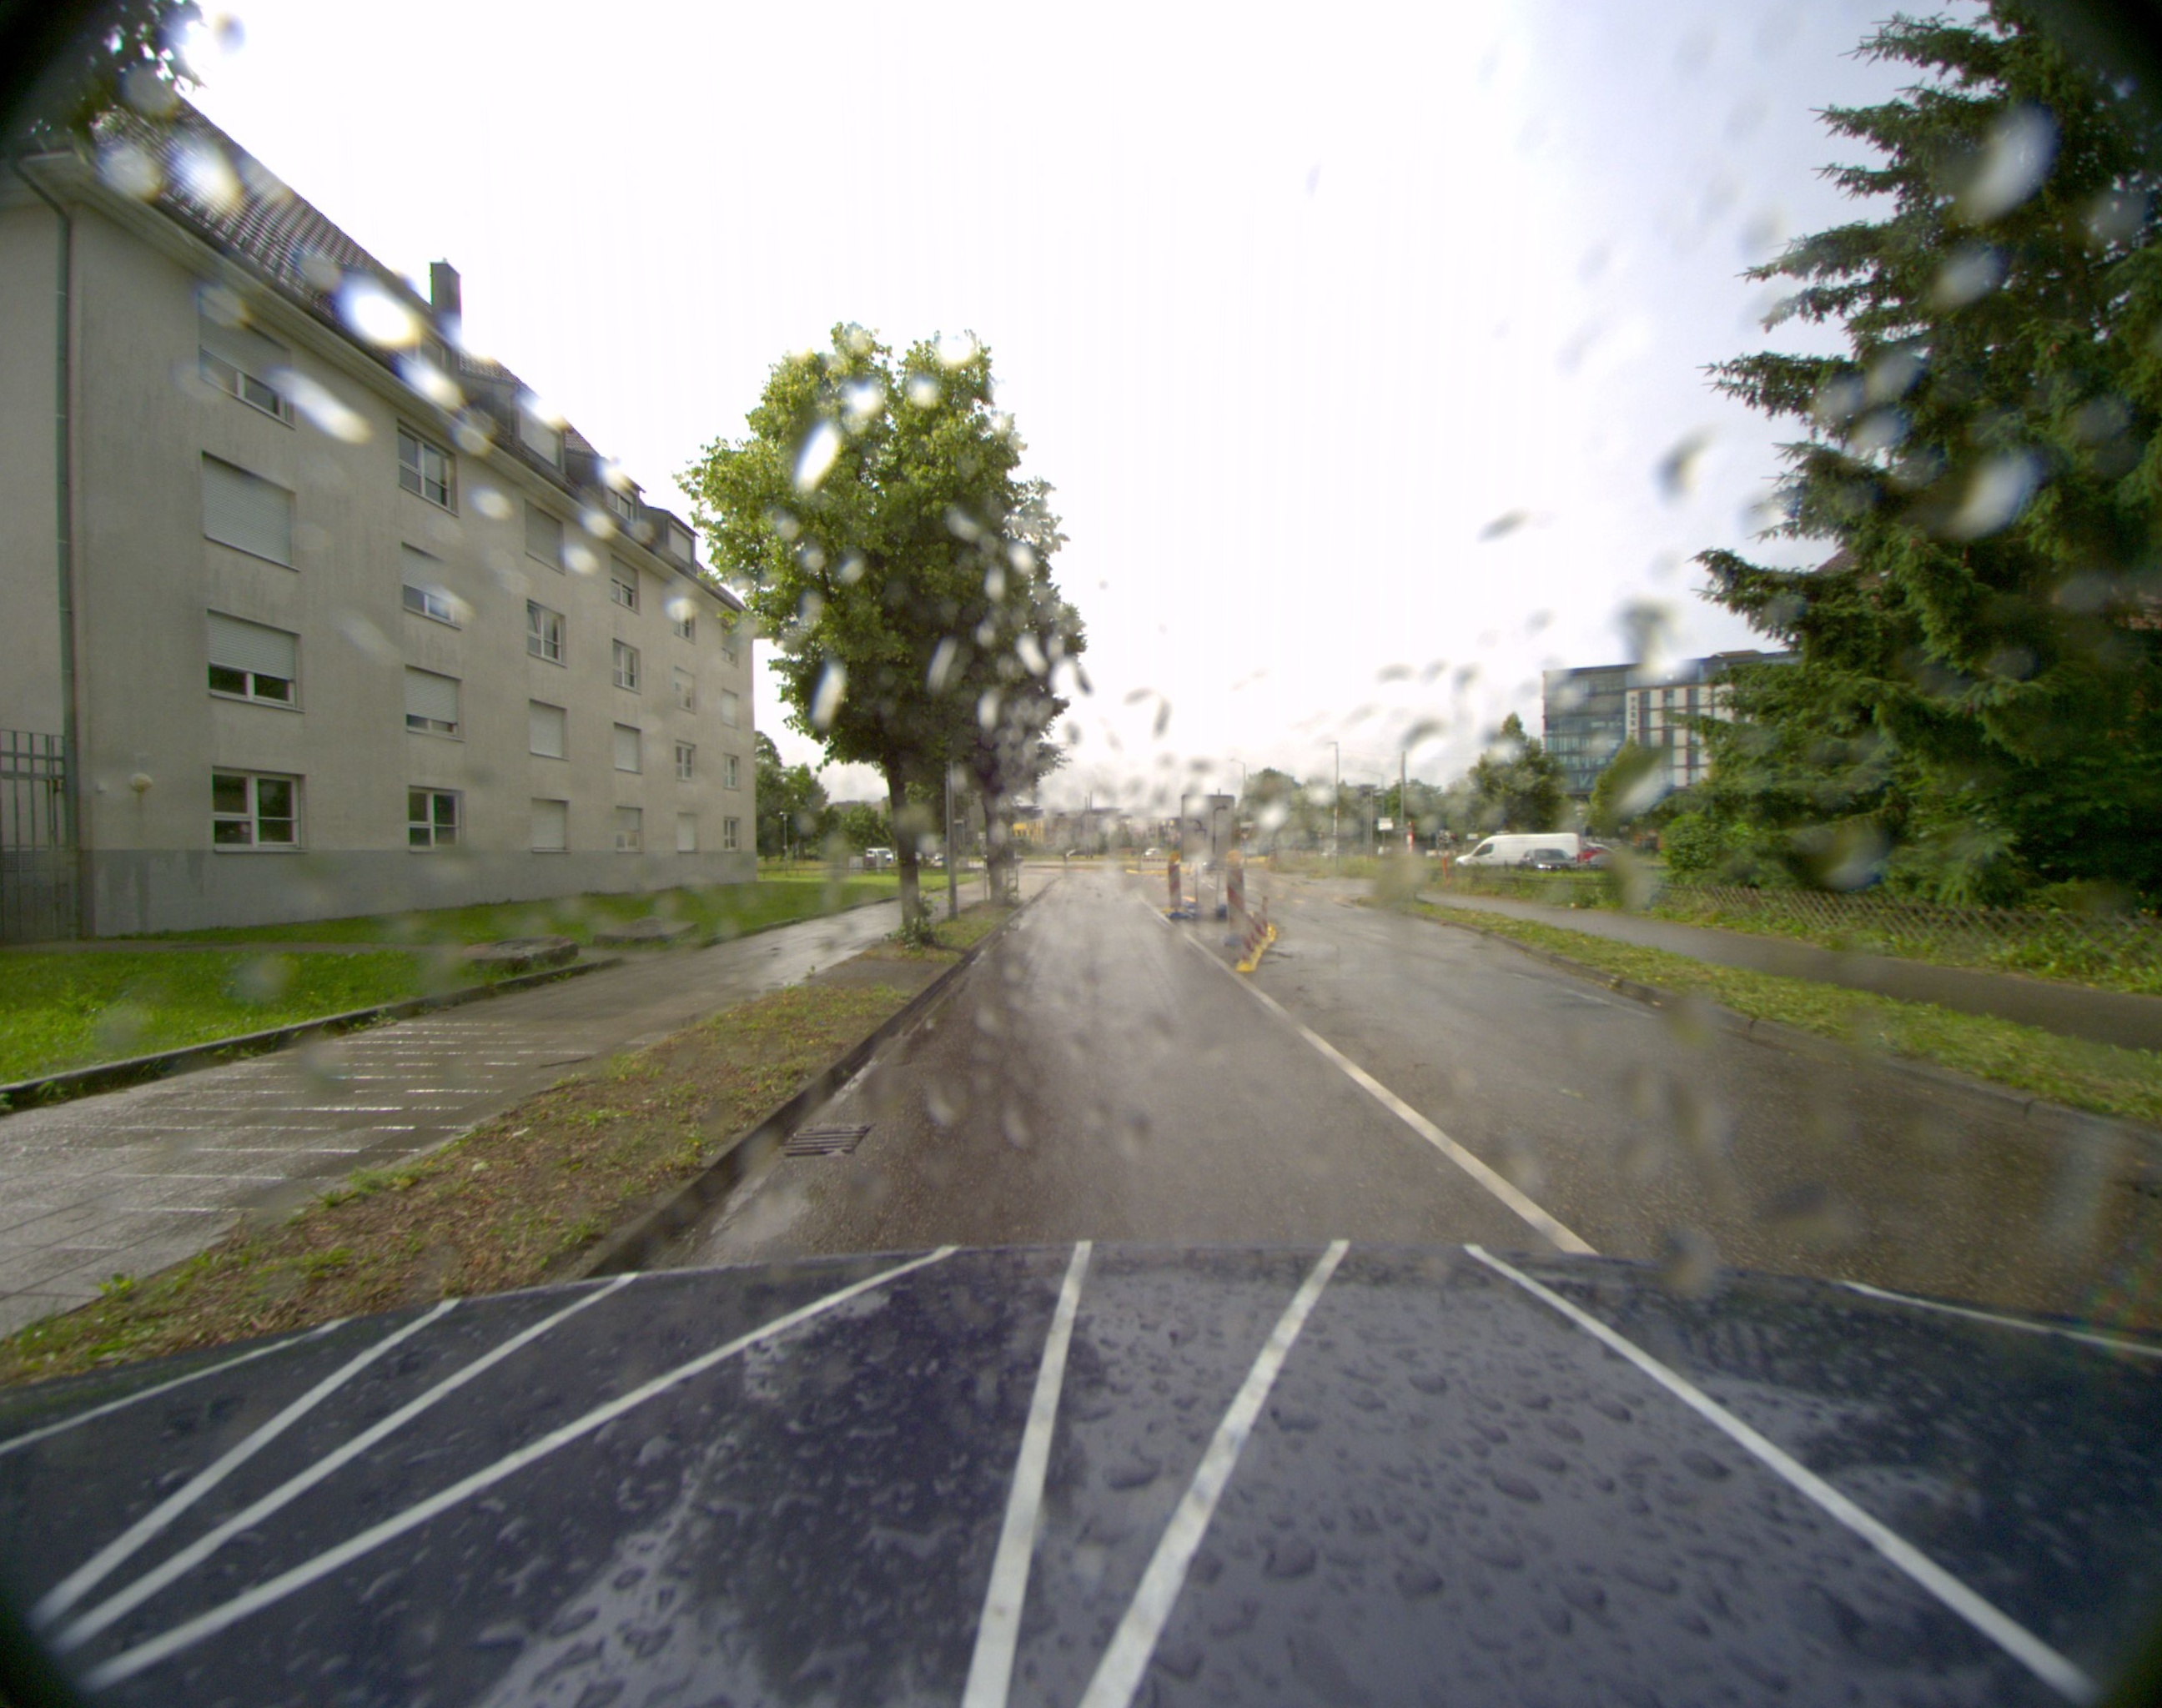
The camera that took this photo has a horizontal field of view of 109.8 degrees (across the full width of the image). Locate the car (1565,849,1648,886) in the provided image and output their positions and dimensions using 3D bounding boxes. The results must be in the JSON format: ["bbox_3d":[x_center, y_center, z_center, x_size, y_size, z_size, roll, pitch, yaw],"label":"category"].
[{"bbox_3d":[25.095,0.602,36.449,1.757,1.608,4.262,-1,0,12],"label":"car"}]

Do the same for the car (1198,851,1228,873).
[{"bbox_3d":[9.366,0.511,54.151,1.683,1.499,3.794,0,0,3],"label":"car"}]

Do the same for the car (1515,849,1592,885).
[{"bbox_3d":[22.637,0.587,36.571,1.757,1.608,4.330,-1,0,12],"label":"car"}]

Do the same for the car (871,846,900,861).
[{"bbox_3d":[-22.586,-0.069,87.610,1.896,1.703,4.218,0,1,-33],"label":"car"}]

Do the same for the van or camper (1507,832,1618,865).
[{"bbox_3d":[33.219,-0.346,52.674,6.381,2.176,2.445,-1,1,31],"label":"van or camper"}]

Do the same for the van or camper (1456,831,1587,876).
[{"bbox_3d":[27.568,-0.020,47.809,6.963,2.632,2.516,-1,1,31],"label":"van or camper"}]
